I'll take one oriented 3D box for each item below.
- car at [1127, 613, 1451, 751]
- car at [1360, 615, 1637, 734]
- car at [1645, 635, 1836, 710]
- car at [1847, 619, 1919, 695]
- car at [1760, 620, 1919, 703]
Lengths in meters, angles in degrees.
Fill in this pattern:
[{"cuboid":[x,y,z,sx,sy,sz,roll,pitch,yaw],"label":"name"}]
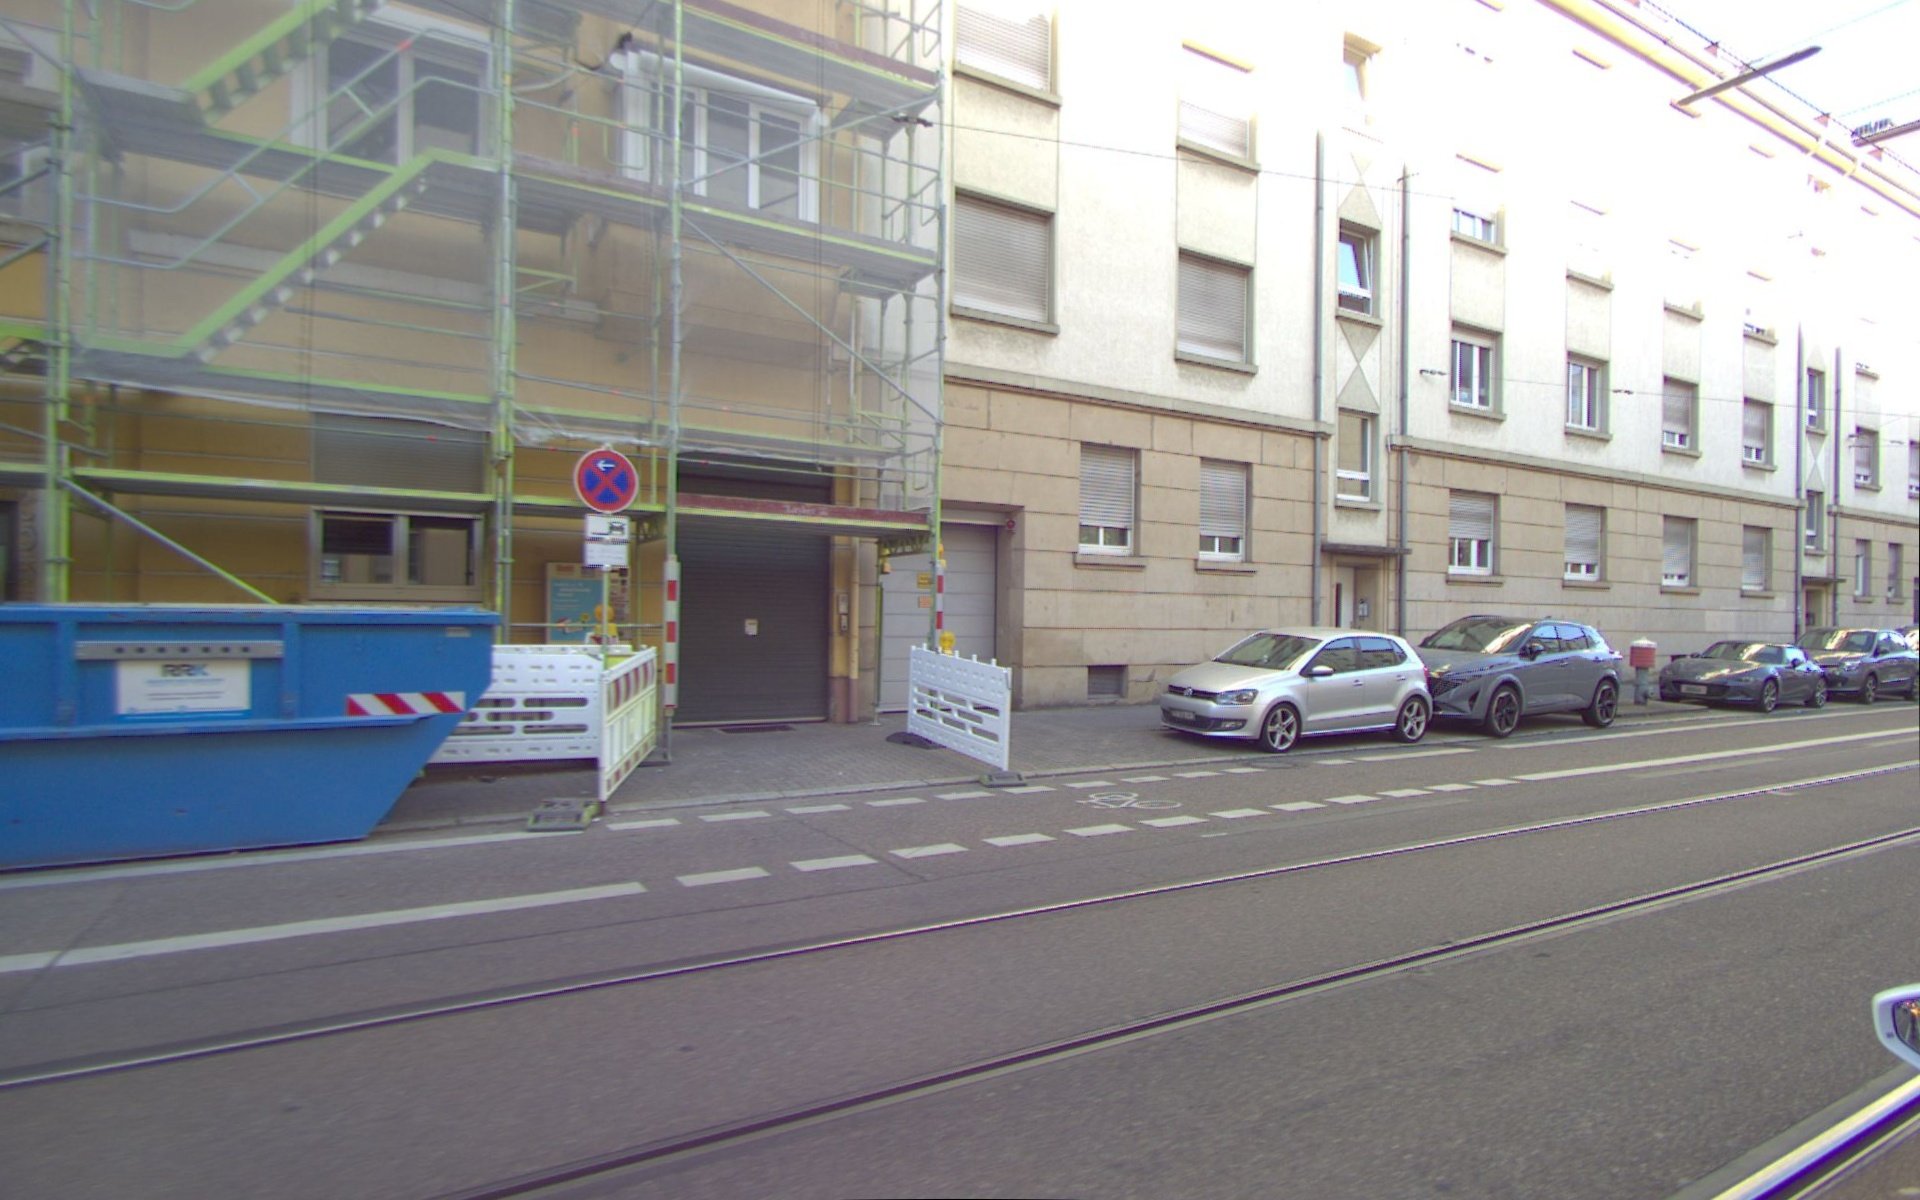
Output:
[{"cuboid":[4.251,0.981,12.866,3.953,1.435,1.691,2,2,-30],"label":"car"},{"cuboid":[8.201,1.037,15.203,4.353,1.588,1.691,1,-1,-30],"label":"car"},{"cuboid":[15.124,1.367,19.435,3.743,1.232,1.690,2,1,-32],"label":"car"},{"cuboid":[23.090,1.360,23.895,4.193,1.637,1.691,2,1,-30],"label":"car"},{"cuboid":[19.430,1.313,21.936,3.953,1.590,1.691,2,1,-30],"label":"car"}]
